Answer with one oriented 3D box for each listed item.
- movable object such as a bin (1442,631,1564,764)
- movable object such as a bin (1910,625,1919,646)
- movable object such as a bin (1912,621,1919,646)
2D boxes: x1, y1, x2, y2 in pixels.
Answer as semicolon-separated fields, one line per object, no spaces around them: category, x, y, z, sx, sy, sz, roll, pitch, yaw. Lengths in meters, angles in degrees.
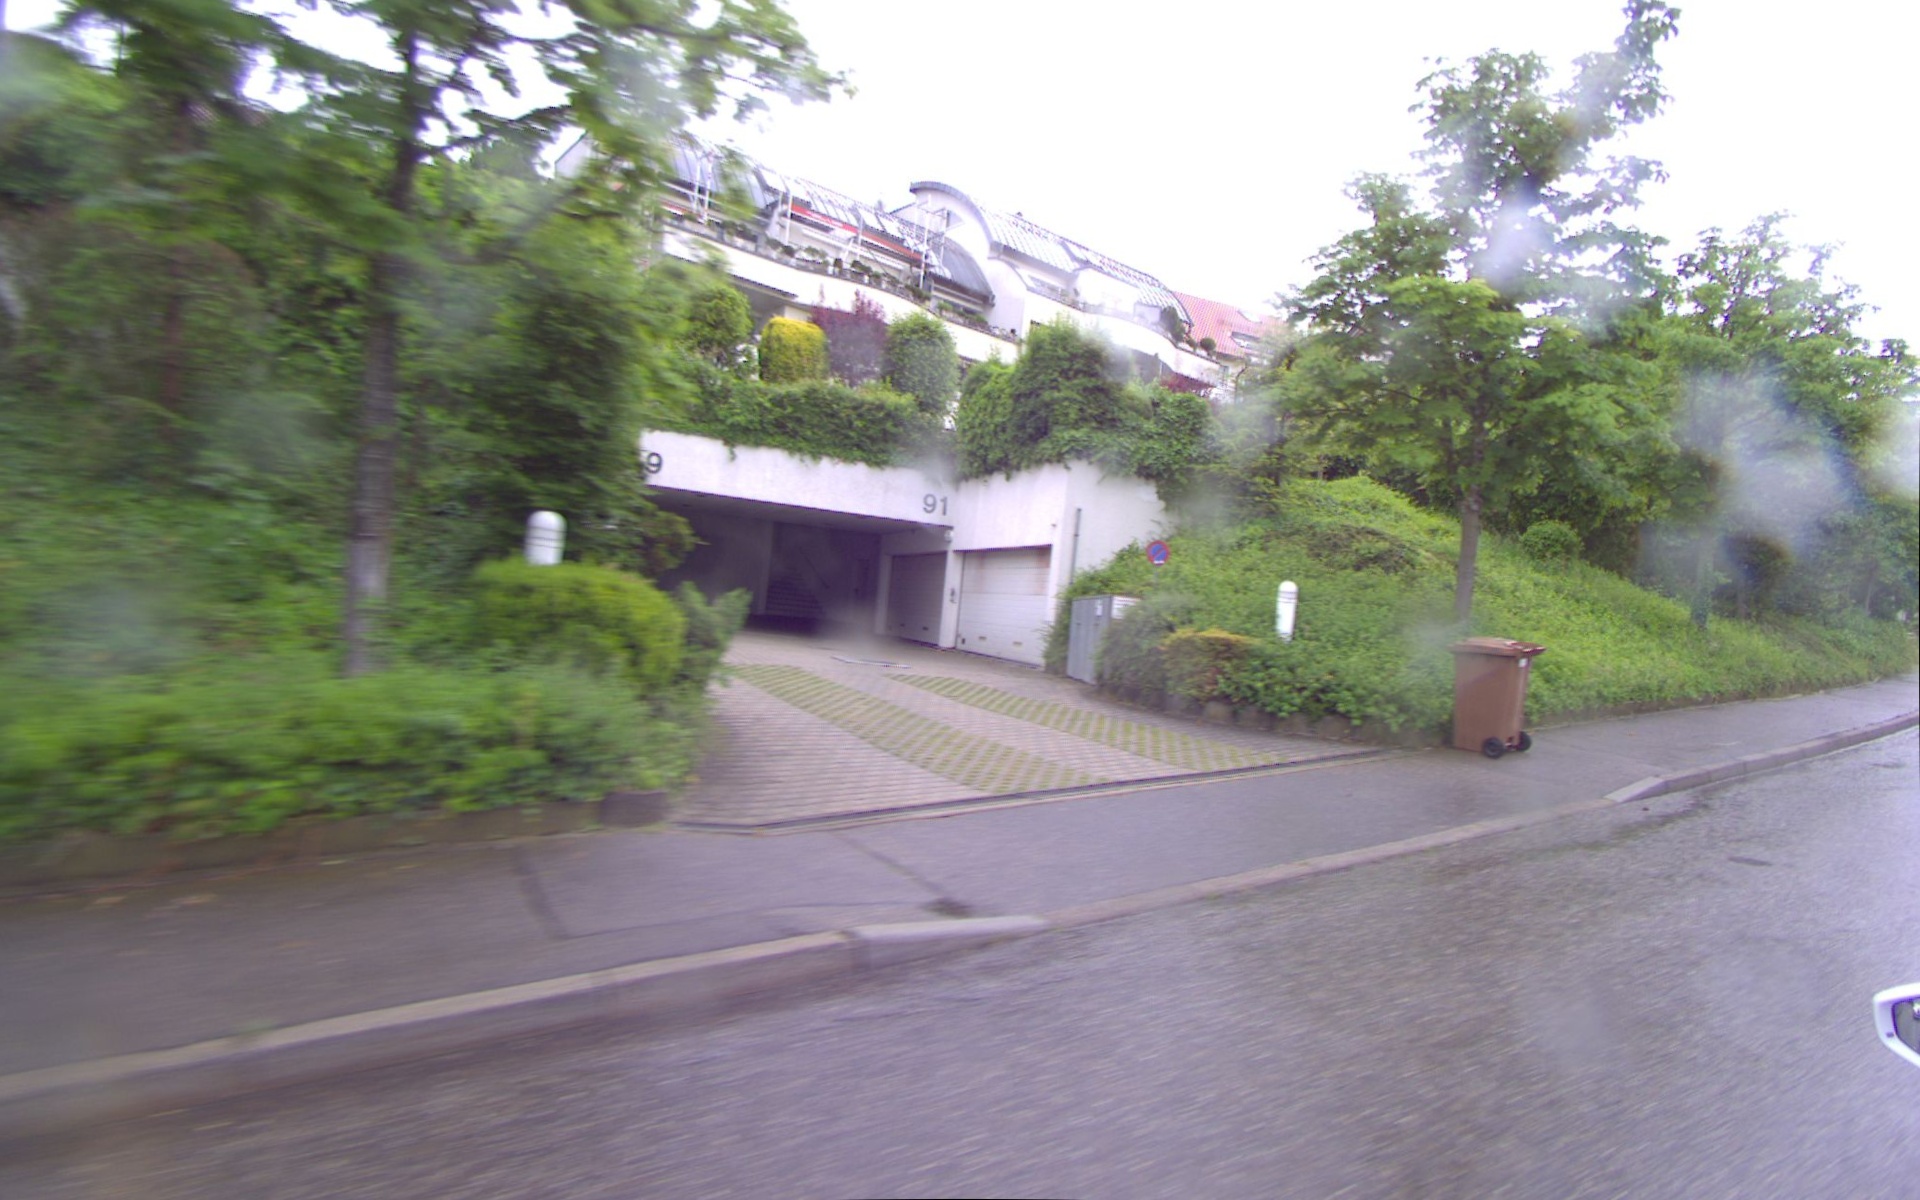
movable object such as a bin;5.169;0.897;9.579;0.794;1.105;0.690;-3;5;-31
movable object such as a bin;42.796;1.574;44.727;0.640;0.923;0.670;4;2;41
movable object such as a bin;43.416;1.526;45.282;0.640;1.095;0.670;4;2;41
